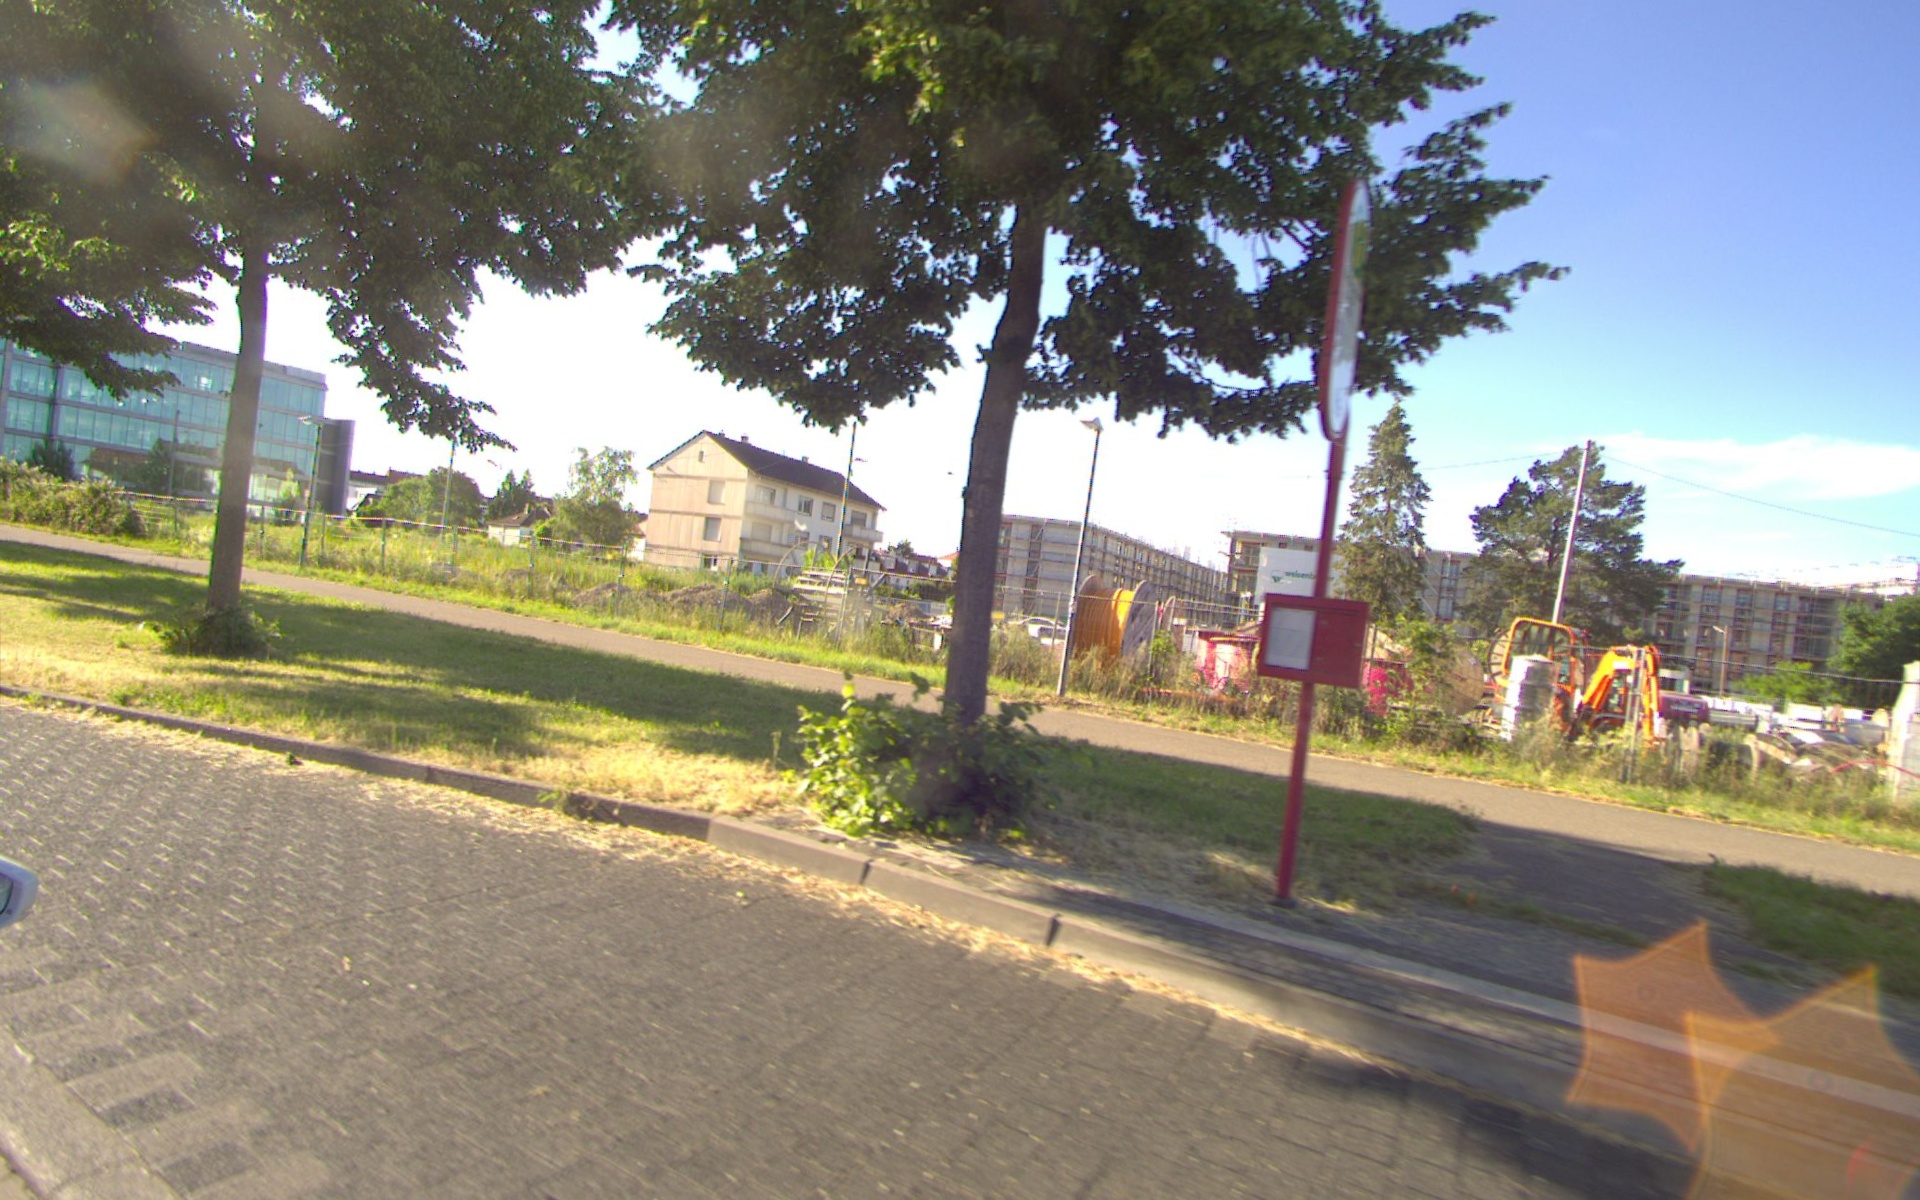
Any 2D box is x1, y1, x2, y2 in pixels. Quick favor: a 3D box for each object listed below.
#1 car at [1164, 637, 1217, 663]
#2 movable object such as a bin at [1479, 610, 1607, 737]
[{"bbox_3d":[17.643,3.839,77.073,3.588,1.637,1.623,5,-1,25],"label":"car"},{"bbox_3d":[10.574,1.321,18.238,1.760,2.038,1.797,5,-1,33],"label":"movable object such as a bin"}]
